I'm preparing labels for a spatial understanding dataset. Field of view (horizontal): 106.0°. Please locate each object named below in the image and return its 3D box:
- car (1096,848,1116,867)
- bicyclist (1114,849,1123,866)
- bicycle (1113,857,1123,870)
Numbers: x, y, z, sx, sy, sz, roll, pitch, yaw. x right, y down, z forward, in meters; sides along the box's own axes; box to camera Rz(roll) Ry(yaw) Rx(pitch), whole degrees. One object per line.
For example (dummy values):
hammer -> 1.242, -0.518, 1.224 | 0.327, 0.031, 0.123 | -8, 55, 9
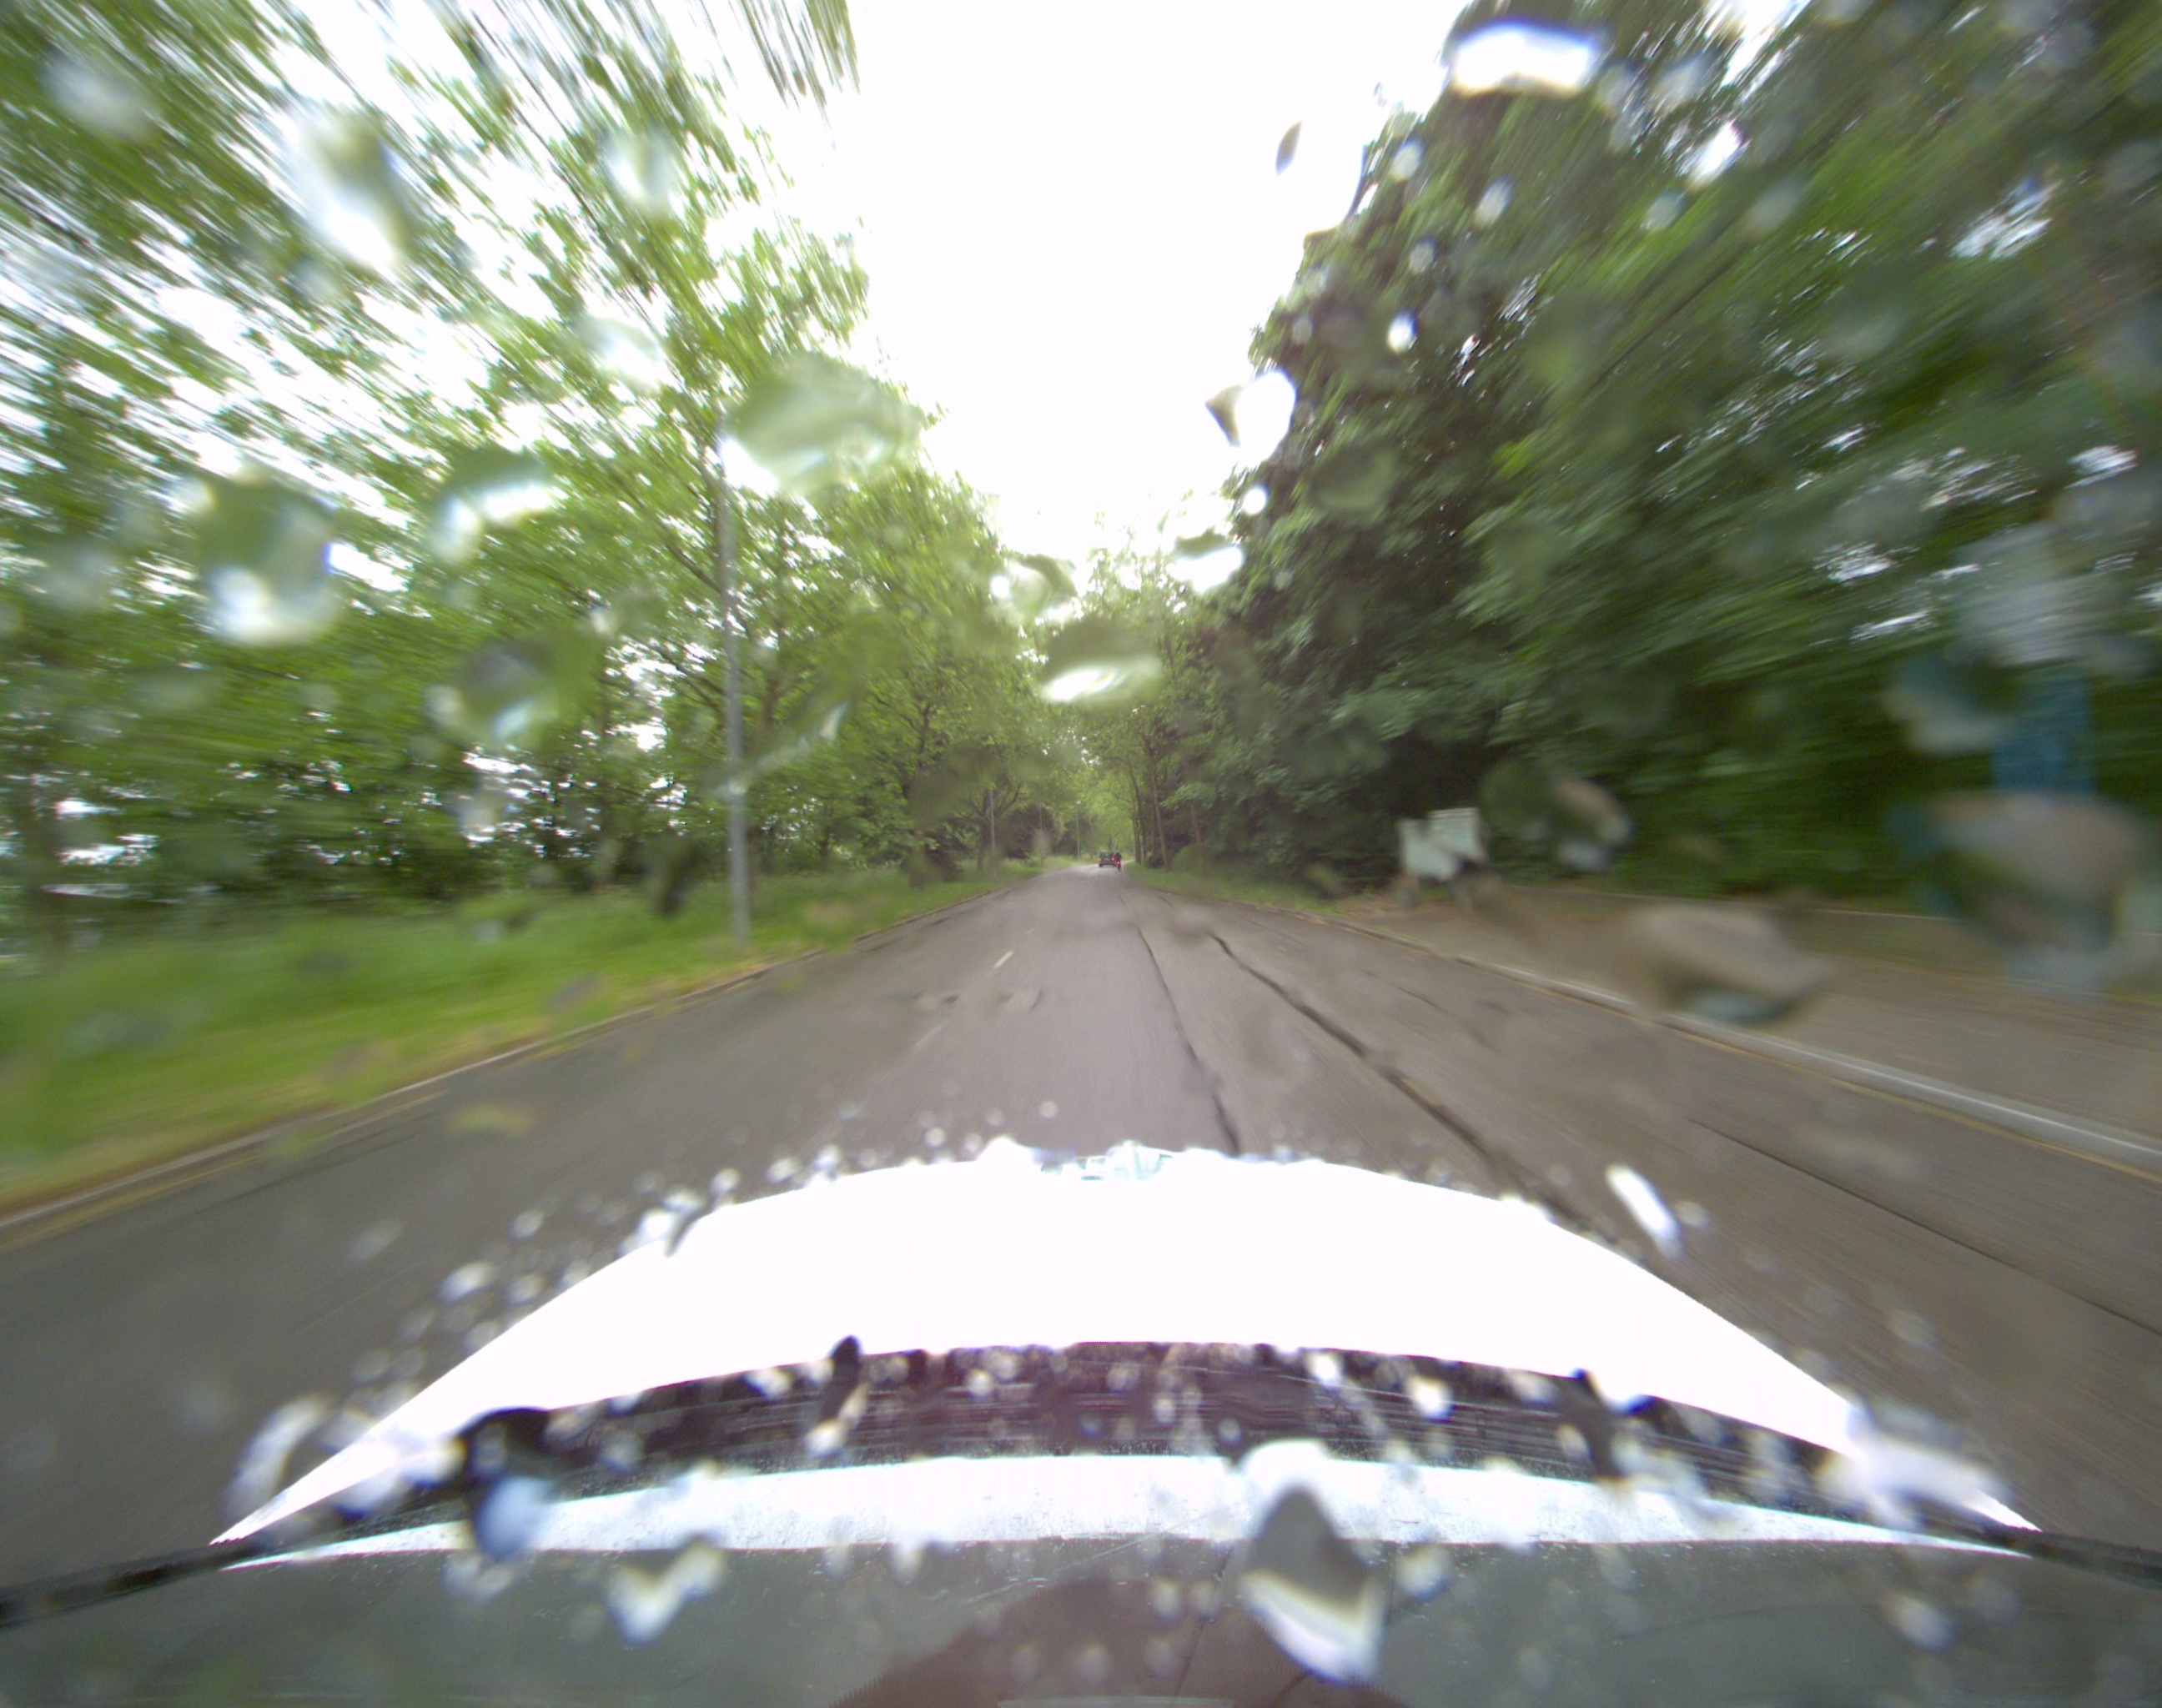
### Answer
car -> 2.739, 0.362, 89.620 | 1.979, 1.925, 4.000 | -2, 0, 0
bicyclist -> 3.087, 0.301, 67.358 | 0.726, 1.411, 0.974 | -1, 0, 4
bicycle -> 3.105, 0.776, 67.433 | 0.726, 0.974, 2.176 | -1, 0, 5
